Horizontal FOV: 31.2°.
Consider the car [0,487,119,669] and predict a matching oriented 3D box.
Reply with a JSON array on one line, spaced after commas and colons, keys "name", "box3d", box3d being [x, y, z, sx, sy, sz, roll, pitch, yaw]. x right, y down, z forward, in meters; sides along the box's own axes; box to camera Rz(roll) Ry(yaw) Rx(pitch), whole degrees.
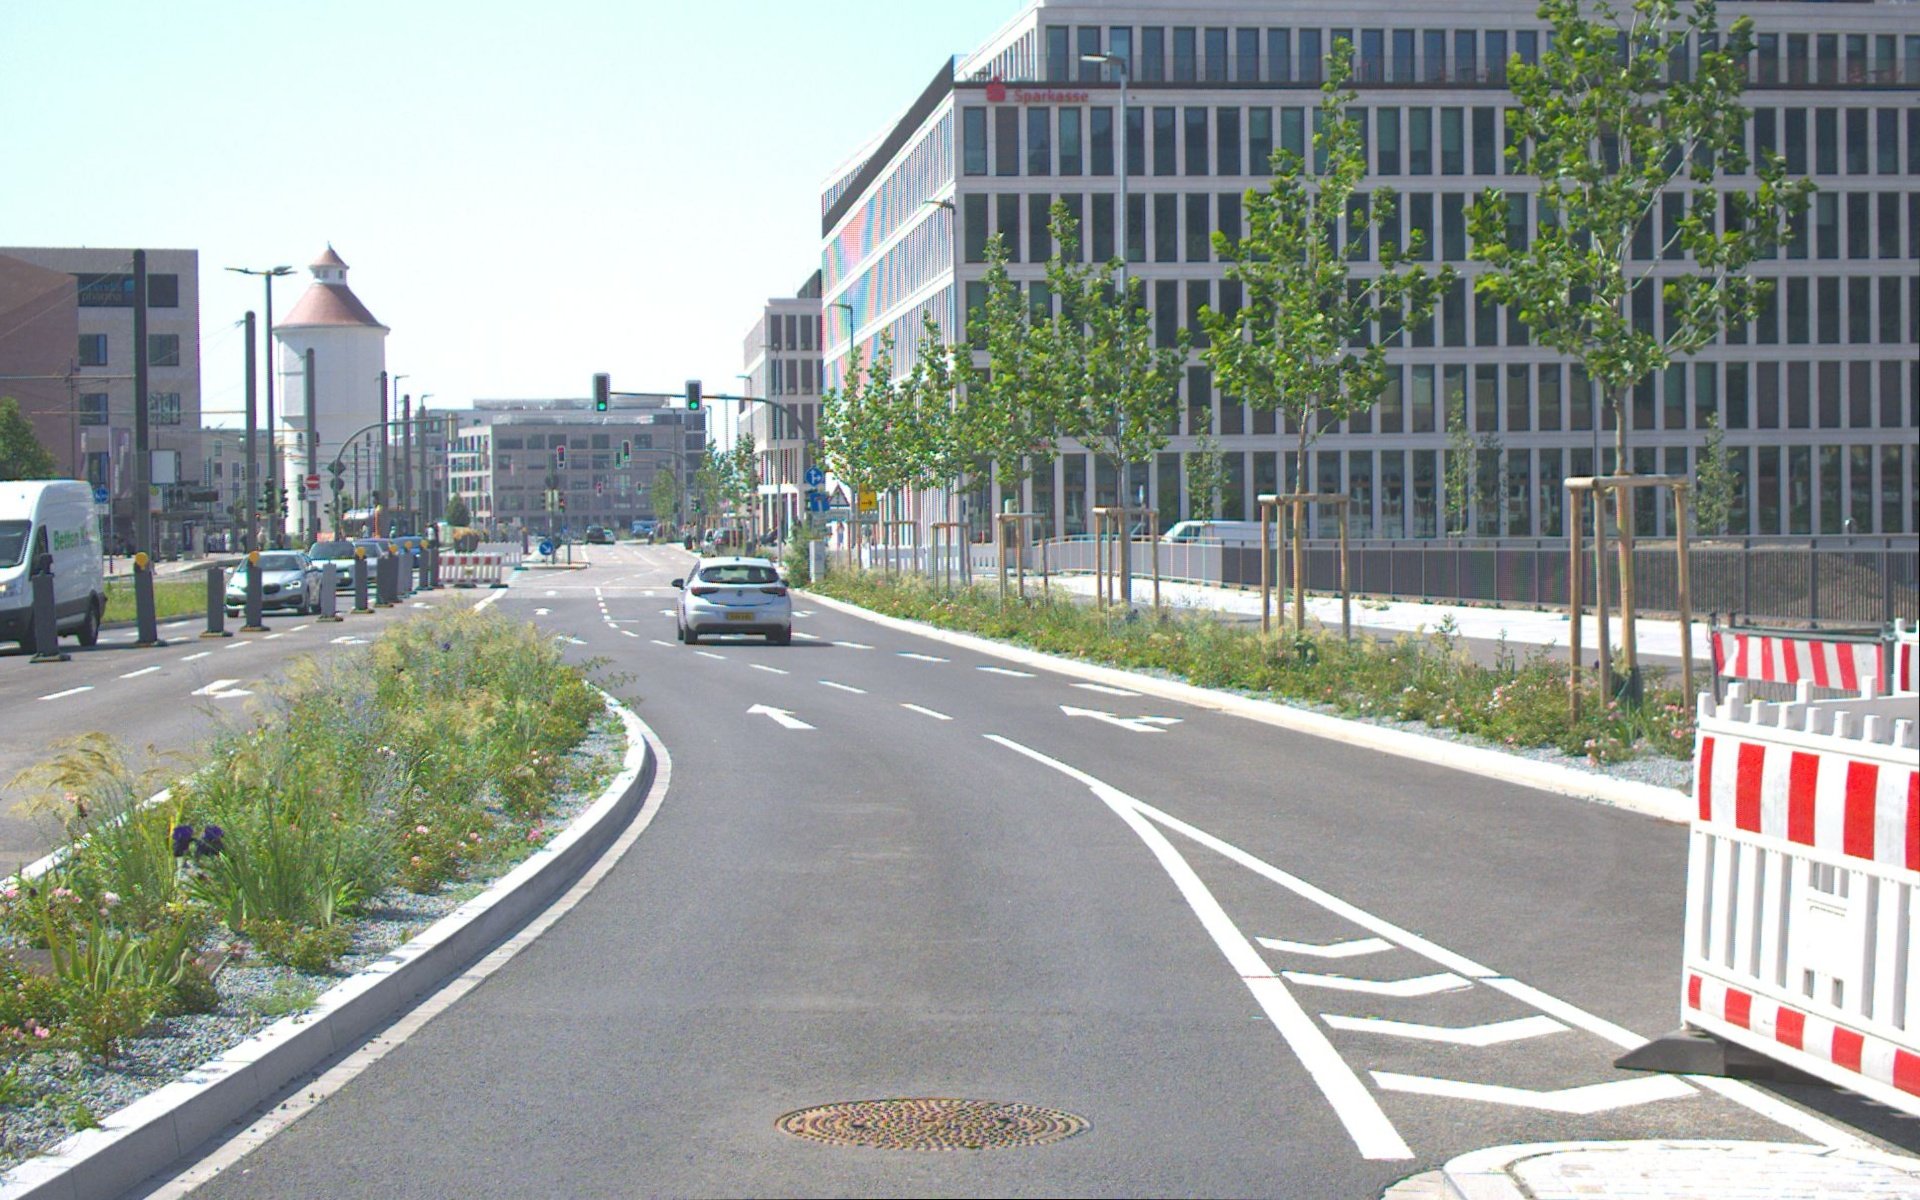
[{"name": "car", "box3d": [-15.234, -0.339, 54.816, 2.077, 2.730, 5.986, -2, 1, 0]}]

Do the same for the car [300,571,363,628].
[{"name": "car", "box3d": [-17.844, -0.016, 97.700, 1.579, 1.525, 3.621, -3, 1, -9]}]

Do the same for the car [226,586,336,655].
[{"name": "car", "box3d": [-15.385, 0.448, 78.097, 1.673, 1.438, 4.469, -2, 1, -2]}]

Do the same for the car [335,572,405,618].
[{"name": "car", "box3d": [-18.642, -0.171, 108.738, 1.580, 1.411, 4.297, -1, 1, -2]}]

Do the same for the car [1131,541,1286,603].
[{"name": "car", "box3d": [9.917, -1.118, 137.352, 5.835, 2.262, 2.147, 2, 1, -6]}]

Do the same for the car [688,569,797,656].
[{"name": "car", "box3d": [-3.695, 0.213, 58.117, 1.771, 1.390, 3.532, 1, 0, -4]}]
